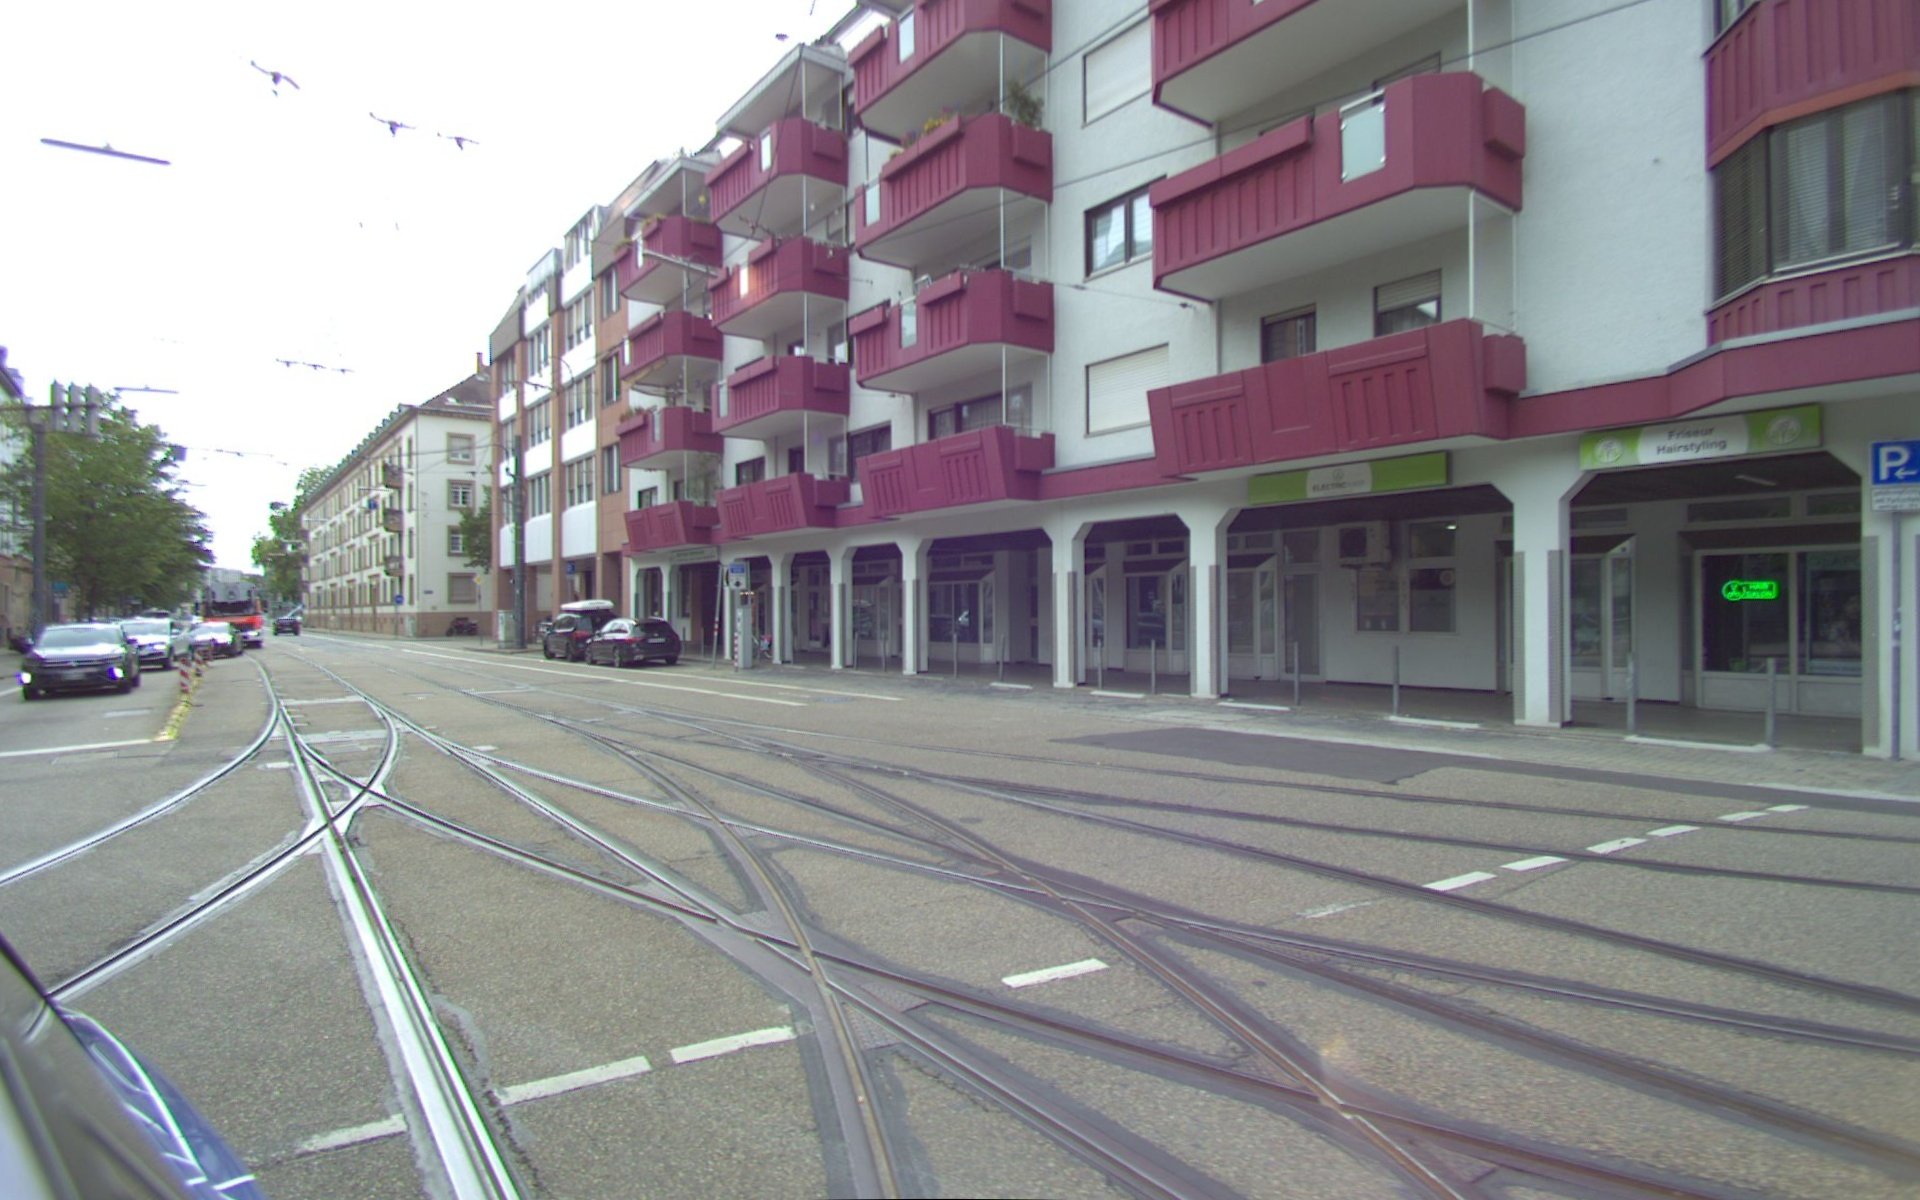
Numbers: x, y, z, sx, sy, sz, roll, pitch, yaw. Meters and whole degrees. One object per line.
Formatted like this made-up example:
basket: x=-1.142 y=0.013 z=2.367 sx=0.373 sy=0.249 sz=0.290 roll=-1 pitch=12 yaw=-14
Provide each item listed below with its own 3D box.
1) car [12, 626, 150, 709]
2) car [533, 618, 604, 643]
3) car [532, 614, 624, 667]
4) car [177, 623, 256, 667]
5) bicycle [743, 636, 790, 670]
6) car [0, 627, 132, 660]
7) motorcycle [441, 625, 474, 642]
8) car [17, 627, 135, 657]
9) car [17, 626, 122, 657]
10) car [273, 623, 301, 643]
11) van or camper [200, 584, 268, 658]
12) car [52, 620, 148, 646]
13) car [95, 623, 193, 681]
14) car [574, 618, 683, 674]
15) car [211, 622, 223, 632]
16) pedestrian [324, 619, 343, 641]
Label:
car: x=-19.378 y=1.410 z=22.486 sx=1.745 sy=1.559 sz=4.293 roll=-2 pitch=0 yaw=-34
car: x=-23.009 y=1.777 z=59.523 sx=1.613 sy=1.399 sz=3.596 roll=-1 pitch=-1 yaw=44
car: x=-13.652 y=1.397 z=35.986 sx=1.783 sy=1.659 sz=4.708 roll=-3 pitch=1 yaw=-37
car: x=-29.651 y=1.765 z=40.475 sx=1.744 sy=1.546 sz=4.062 roll=-2 pitch=0 yaw=-25
bicycle: x=-5.711 y=1.554 z=29.821 sx=0.557 sy=0.960 sz=1.652 roll=0 pitch=-1 yaw=-43
car: x=-41.920 y=2.012 z=47.348 sx=1.782 sy=1.484 sz=4.582 roll=-1 pitch=-2 yaw=29
motorcycle: x=-34.094 y=2.272 z=68.609 sx=1.894 sy=1.094 sz=0.795 roll=0 pitch=-1 yaw=-37
car: x=-46.303 y=2.186 z=53.114 sx=1.782 sy=1.491 sz=4.301 roll=-1 pitch=-2 yaw=29
car: x=-51.175 y=2.373 z=58.223 sx=1.732 sy=1.711 sz=4.197 roll=-1 pitch=-2 yaw=29
car: x=-55.294 y=2.683 z=83.120 sx=1.745 sy=1.549 sz=4.058 roll=-2 pitch=0 yaw=-35
van or camper: x=-37.058 y=1.035 z=51.515 sx=2.567 sy=3.447 sz=9.673 roll=0 pitch=-1 yaw=-37
car: x=-58.421 y=2.266 z=68.808 sx=1.909 sy=1.711 sz=4.582 roll=-1 pitch=-2 yaw=29
car: x=-25.611 y=1.564 z=31.901 sx=1.744 sy=1.603 sz=4.295 roll=-2 pitch=0 yaw=-30
car: x=-10.293 y=1.356 z=31.219 sx=1.732 sy=1.491 sz=4.708 roll=-3 pitch=1 yaw=-37
car: x=-148.463 y=5.368 z=202.169 sx=1.869 sy=1.831 sz=4.010 roll=0 pitch=-1 yaw=-36
pedestrian: x=-53.074 y=2.522 z=85.701 sx=1.007 sy=1.856 sz=0.999 roll=-1 pitch=-1 yaw=6
